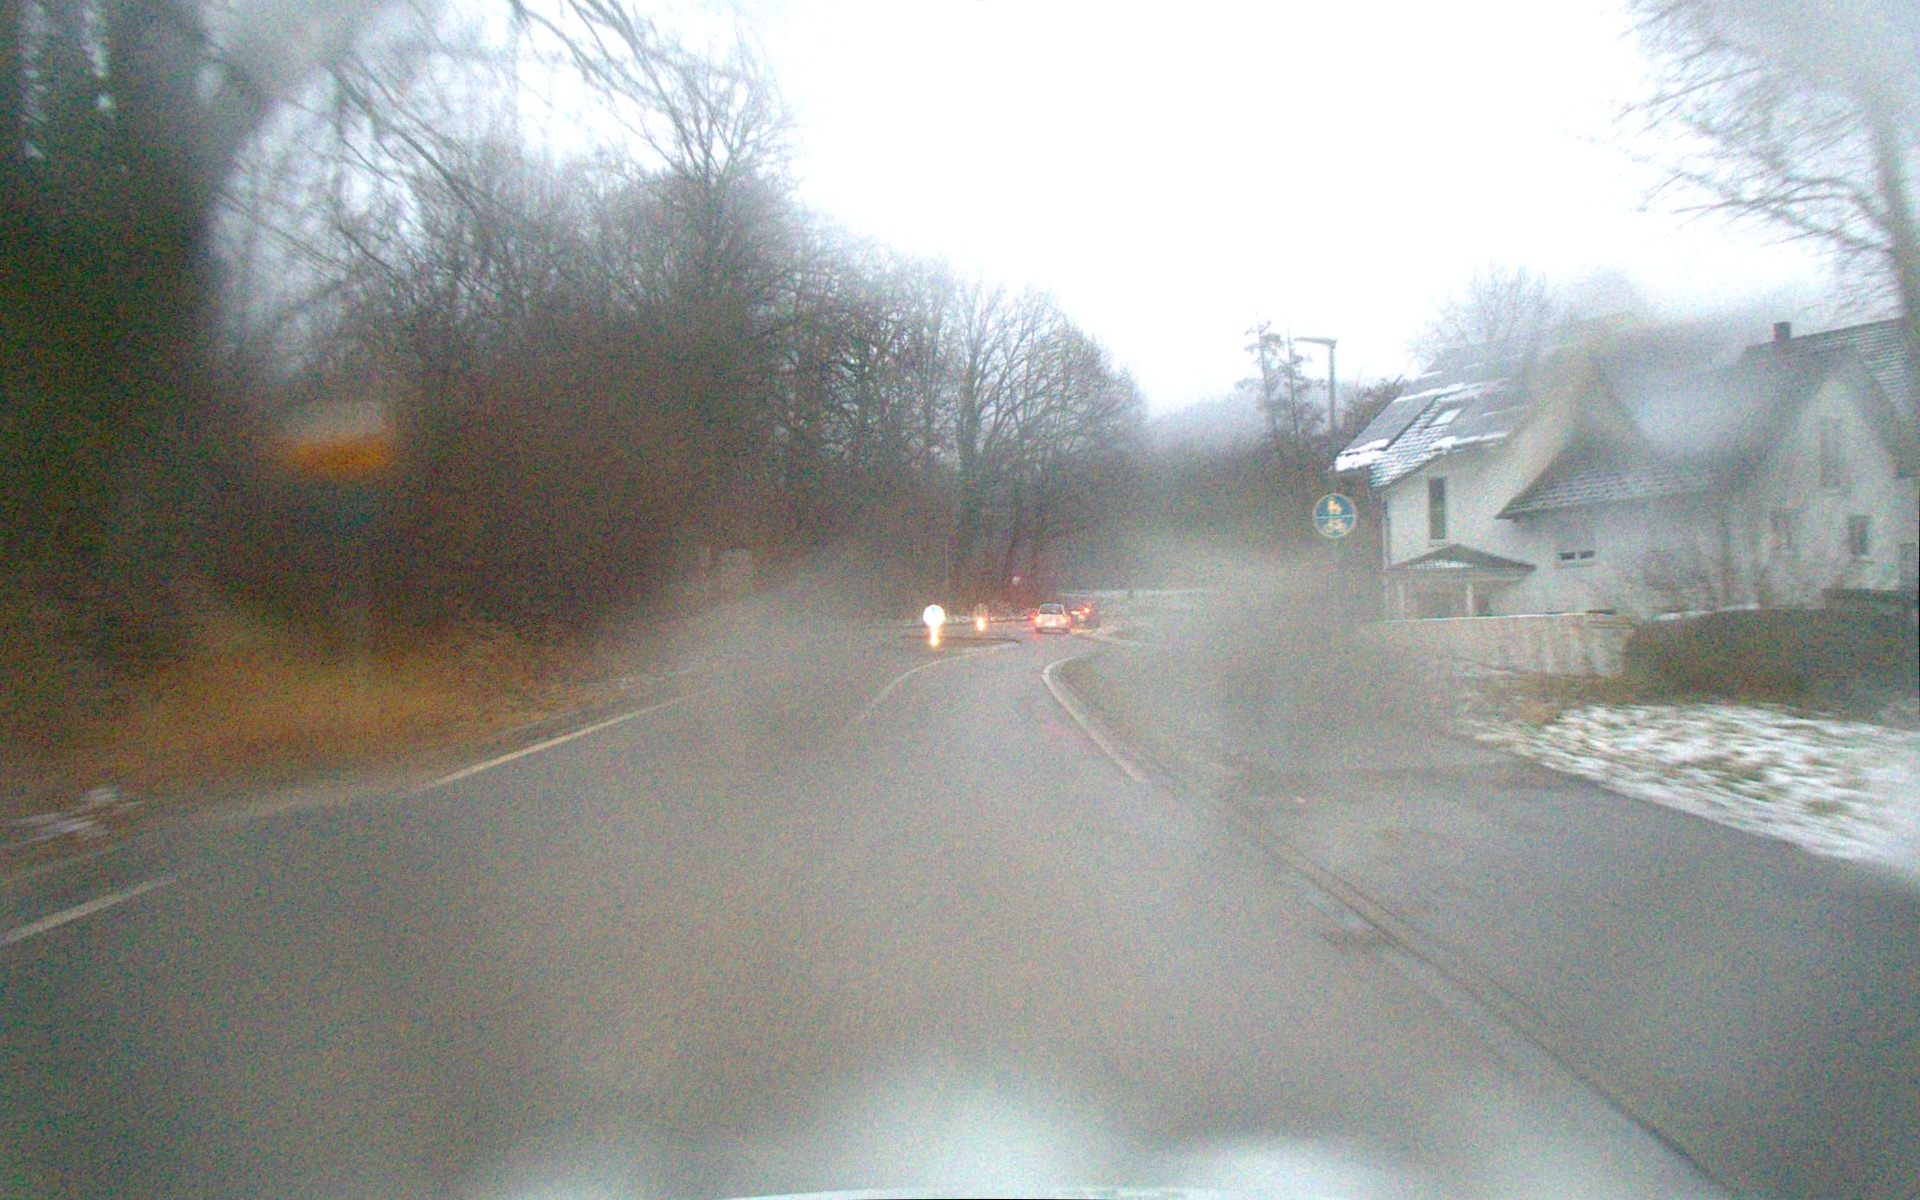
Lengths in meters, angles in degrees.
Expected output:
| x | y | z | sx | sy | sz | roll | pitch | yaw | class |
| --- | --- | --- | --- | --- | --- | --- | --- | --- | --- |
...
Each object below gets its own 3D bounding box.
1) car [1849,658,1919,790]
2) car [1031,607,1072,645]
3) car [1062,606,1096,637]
| x | y | z | sx | sy | sz | roll | pitch | yaw | class |
| --- | --- | --- | --- | --- | --- | --- | --- | --- | --- |
| 14.009 | 1.597 | 21.739 | 3.707 | 1.625 | 1.802 | 0 | 0 | -4 | car |
| 4.553 | 1.283 | 81.807 | 1.892 | 1.812 | 4.002 | 0 | 0 | 5 | car |
| 6.801 | 1.208 | 94.108 | 1.892 | 1.705 | 4.002 | 0 | 0 | 5 | car |
